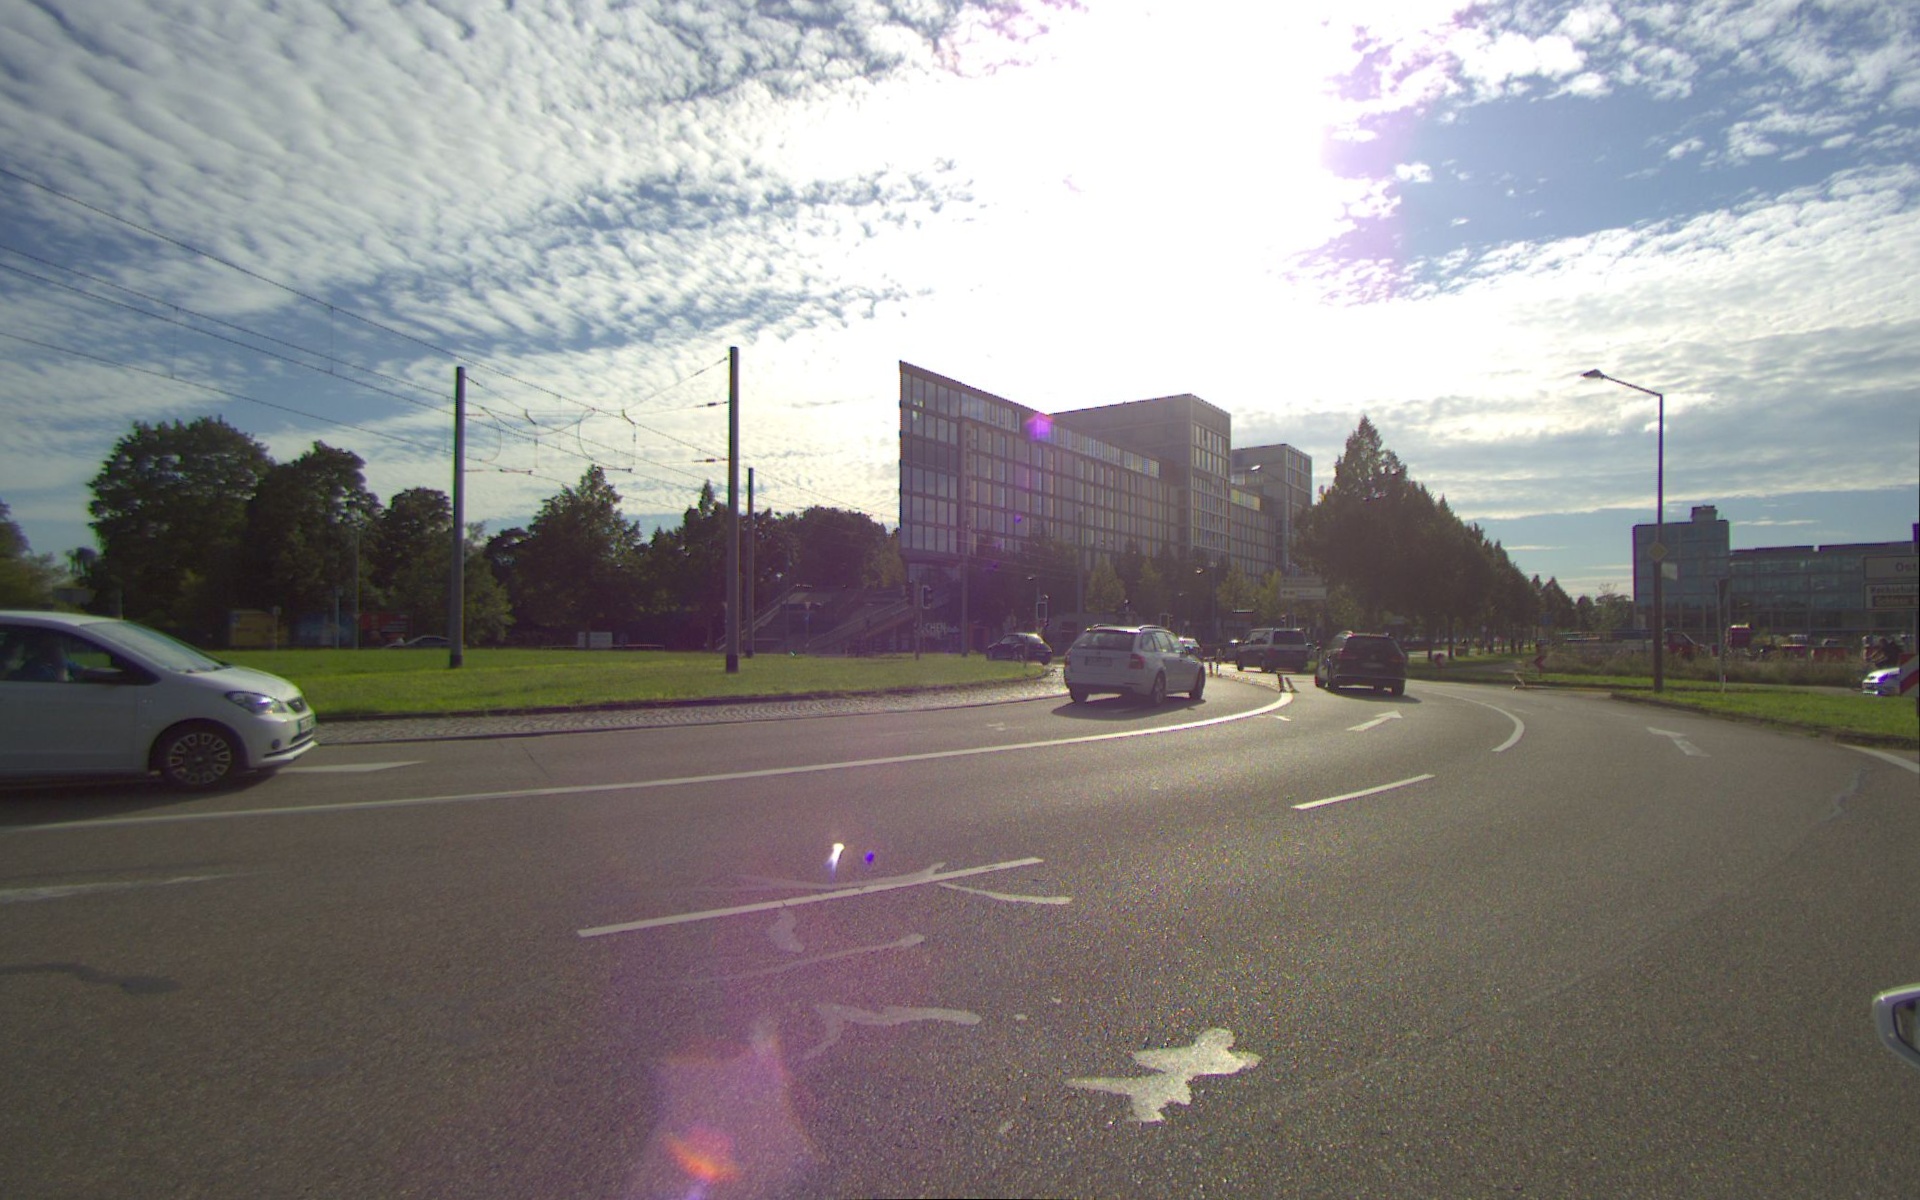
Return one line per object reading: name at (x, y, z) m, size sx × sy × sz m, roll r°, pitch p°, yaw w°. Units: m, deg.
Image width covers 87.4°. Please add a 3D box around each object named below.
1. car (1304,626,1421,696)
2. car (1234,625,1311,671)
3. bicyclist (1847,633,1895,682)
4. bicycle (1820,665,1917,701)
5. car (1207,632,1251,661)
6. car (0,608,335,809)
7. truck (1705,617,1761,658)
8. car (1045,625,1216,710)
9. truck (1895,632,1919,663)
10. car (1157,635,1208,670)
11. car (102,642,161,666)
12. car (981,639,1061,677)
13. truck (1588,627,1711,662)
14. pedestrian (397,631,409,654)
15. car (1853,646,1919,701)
car at (10.369, 1.576, 26.252) m, size 1.959 × 1.587 × 4.849 m, roll 2°, pitch -3°, yaw 11°
car at (14.422, 2.182, 46.658) m, size 1.866 × 1.928 × 4.658 m, roll 1°, pitch -1°, yaw -4°
bicyclist at (29.142, 1.821, 32.133) m, size 0.698 × 1.531 × 1.000 m, roll 1°, pitch -2°, yaw -35°
bicycle at (29.094, 2.644, 32.207) m, size 0.698 × 1.077 × 2.183 m, roll 1°, pitch -2°, yaw -35°
car at (18.758, 3.218, 69.937) m, size 1.868 × 1.928 × 4.654 m, roll 0°, pitch -2°, yaw 29°
car at (-7.552, 0.836, 8.455) m, size 3.606 × 1.484 × 1.758 m, roll 1°, pitch 1°, yaw -22°
truck at (65.099, 3.157, 84.686) m, size 2.767 × 3.249 × 7.303 m, roll 0°, pitch -2°, yaw 30°
car at (3.525, 1.268, 20.018) m, size 1.824 × 1.464 × 4.629 m, roll 0°, pitch -2°, yaw 31°
truck at (75.542, 3.724, 78.716) m, size 2.027 × 2.358 × 5.628 m, roll 0°, pitch -2°, yaw 30°
car at (10.557, 2.463, 47.890) m, size 1.863 × 1.450 × 4.663 m, roll 0°, pitch -1°, yaw 6°
car at (-58.014, 3.758, 70.295) m, size 3.919 × 1.521 × 1.684 m, roll 0°, pitch -2°, yaw 26°
car at (2.874, 2.726, 47.991) m, size 1.976 × 1.561 × 3.969 m, roll 1°, pitch 0°, yaw -29°
truck at (53.203, 3.391, 77.768) m, size 7.728 × 2.601 × 3.066 m, roll -1°, pitch -2°, yaw 34°
pedestrian at (-39.561, 3.015, 71.323) m, size 0.496 × 1.646 × 0.547 m, roll -1°, pitch -2°, yaw 26°
car at (27.637, 2.022, 27.439) m, size 4.456 × 1.471 × 1.822 m, roll 0°, pitch -2°, yaw 25°
